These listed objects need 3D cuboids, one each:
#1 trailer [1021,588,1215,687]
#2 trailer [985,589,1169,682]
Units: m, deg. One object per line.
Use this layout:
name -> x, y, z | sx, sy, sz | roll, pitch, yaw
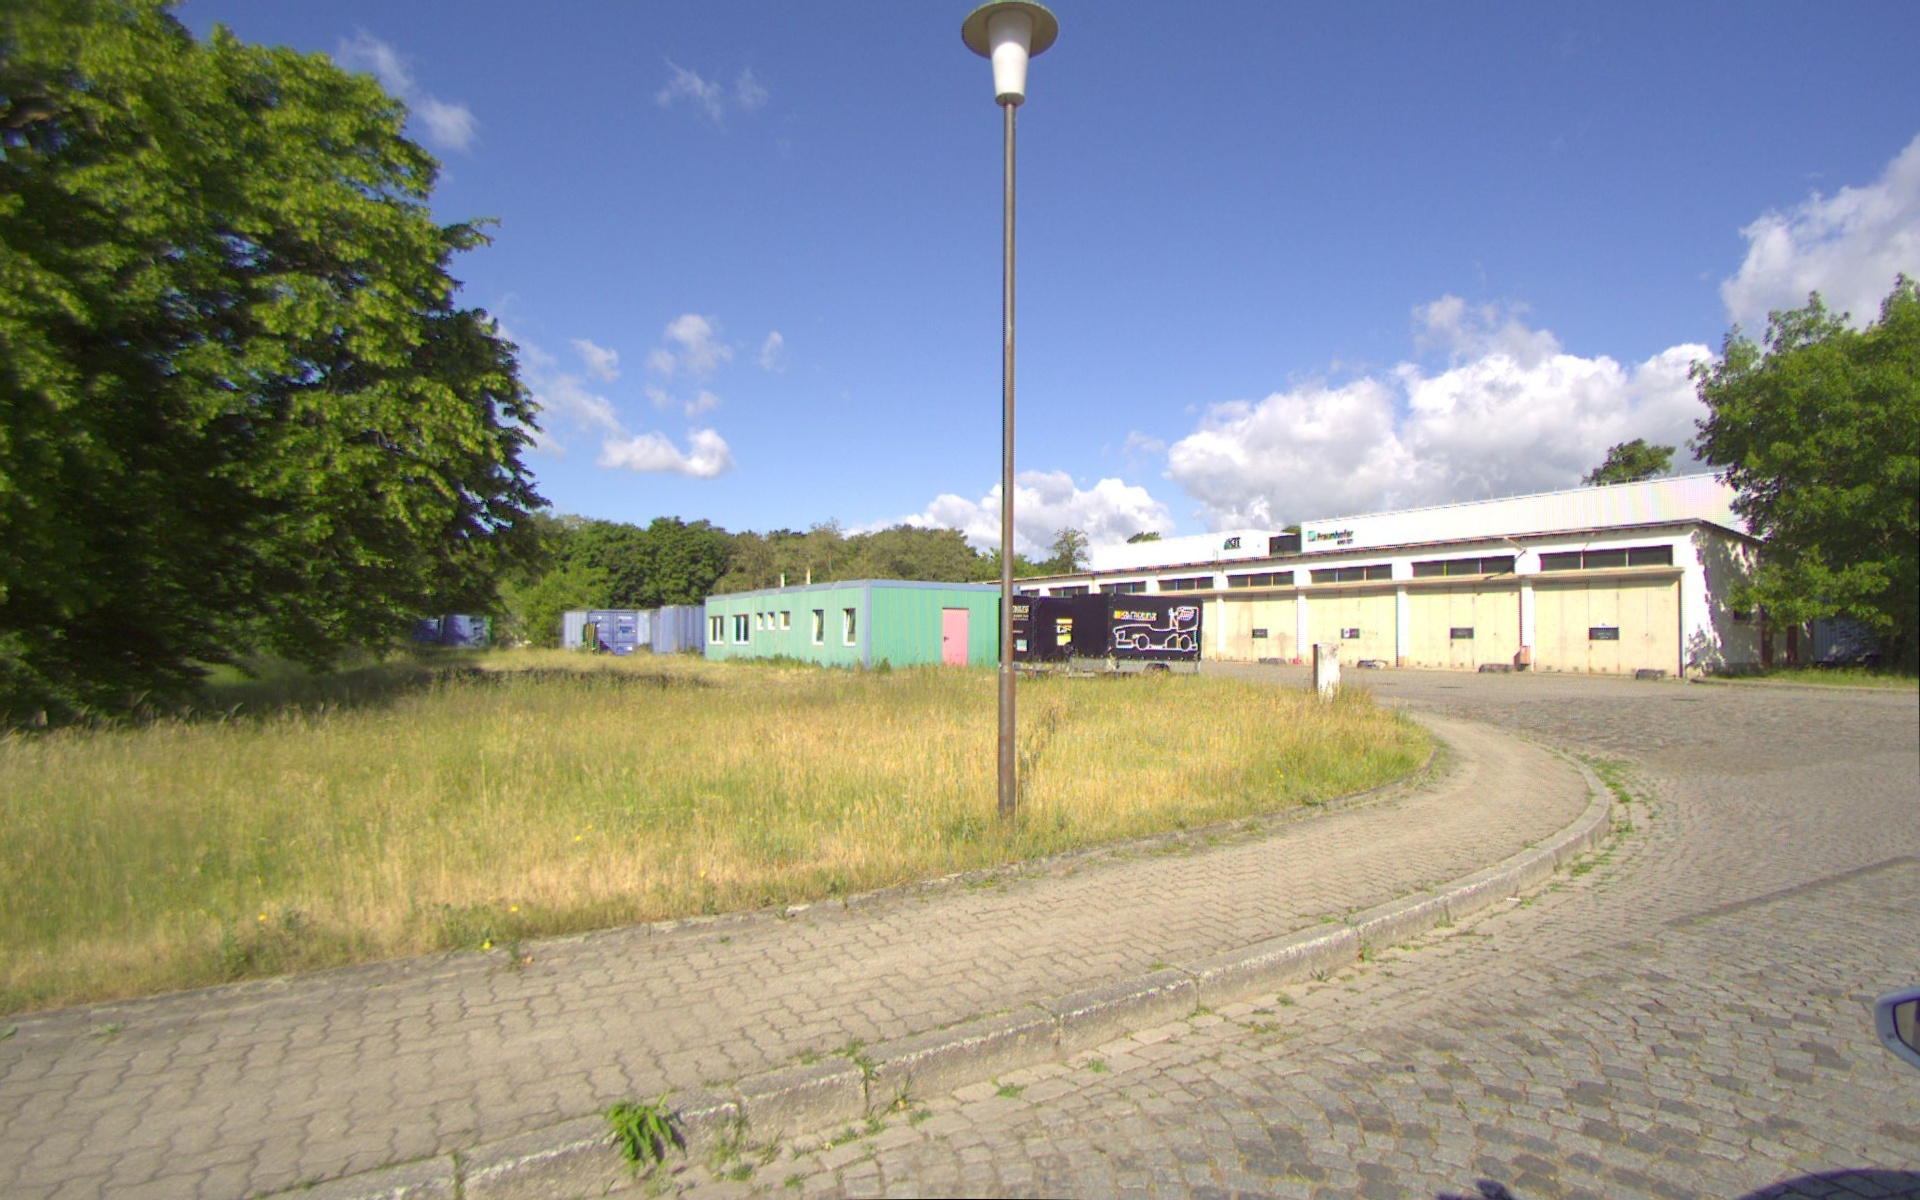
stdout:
trailer -> 4.053, 0.969, 25.622 | 4.613, 2.328, 2.121 | 2, -2, -29
trailer -> 3.294, 0.996, 27.915 | 4.923, 2.385, 2.077 | 2, -2, -34
